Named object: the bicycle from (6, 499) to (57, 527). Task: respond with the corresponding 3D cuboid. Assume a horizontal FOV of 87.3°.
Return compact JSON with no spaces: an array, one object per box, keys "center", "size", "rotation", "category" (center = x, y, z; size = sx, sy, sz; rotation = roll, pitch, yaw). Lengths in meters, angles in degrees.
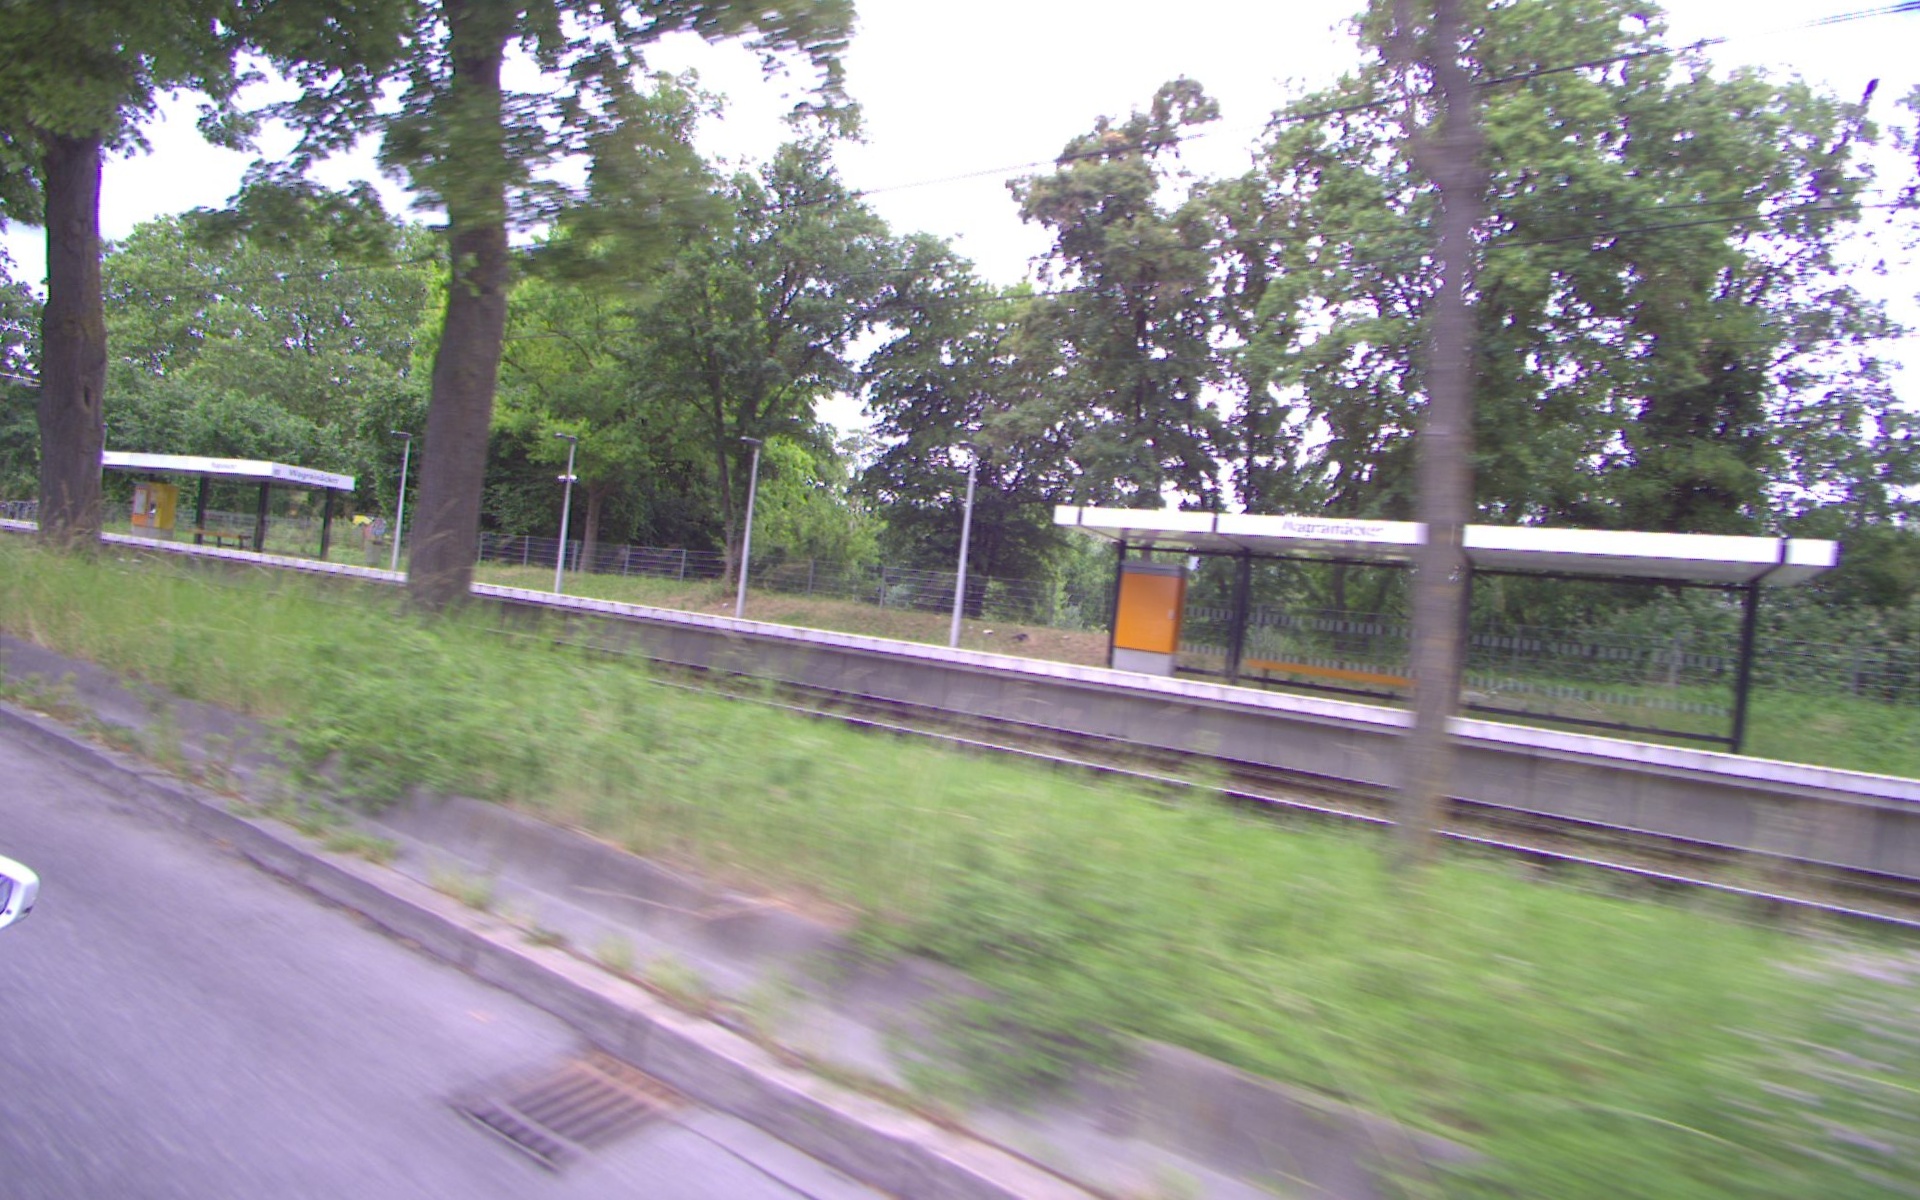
[{"center":[-41.325,-3.879,44.792],"size":[0.442,0.984,1.514],"rotation":[7,-2,24],"category":"bicycle"}]
